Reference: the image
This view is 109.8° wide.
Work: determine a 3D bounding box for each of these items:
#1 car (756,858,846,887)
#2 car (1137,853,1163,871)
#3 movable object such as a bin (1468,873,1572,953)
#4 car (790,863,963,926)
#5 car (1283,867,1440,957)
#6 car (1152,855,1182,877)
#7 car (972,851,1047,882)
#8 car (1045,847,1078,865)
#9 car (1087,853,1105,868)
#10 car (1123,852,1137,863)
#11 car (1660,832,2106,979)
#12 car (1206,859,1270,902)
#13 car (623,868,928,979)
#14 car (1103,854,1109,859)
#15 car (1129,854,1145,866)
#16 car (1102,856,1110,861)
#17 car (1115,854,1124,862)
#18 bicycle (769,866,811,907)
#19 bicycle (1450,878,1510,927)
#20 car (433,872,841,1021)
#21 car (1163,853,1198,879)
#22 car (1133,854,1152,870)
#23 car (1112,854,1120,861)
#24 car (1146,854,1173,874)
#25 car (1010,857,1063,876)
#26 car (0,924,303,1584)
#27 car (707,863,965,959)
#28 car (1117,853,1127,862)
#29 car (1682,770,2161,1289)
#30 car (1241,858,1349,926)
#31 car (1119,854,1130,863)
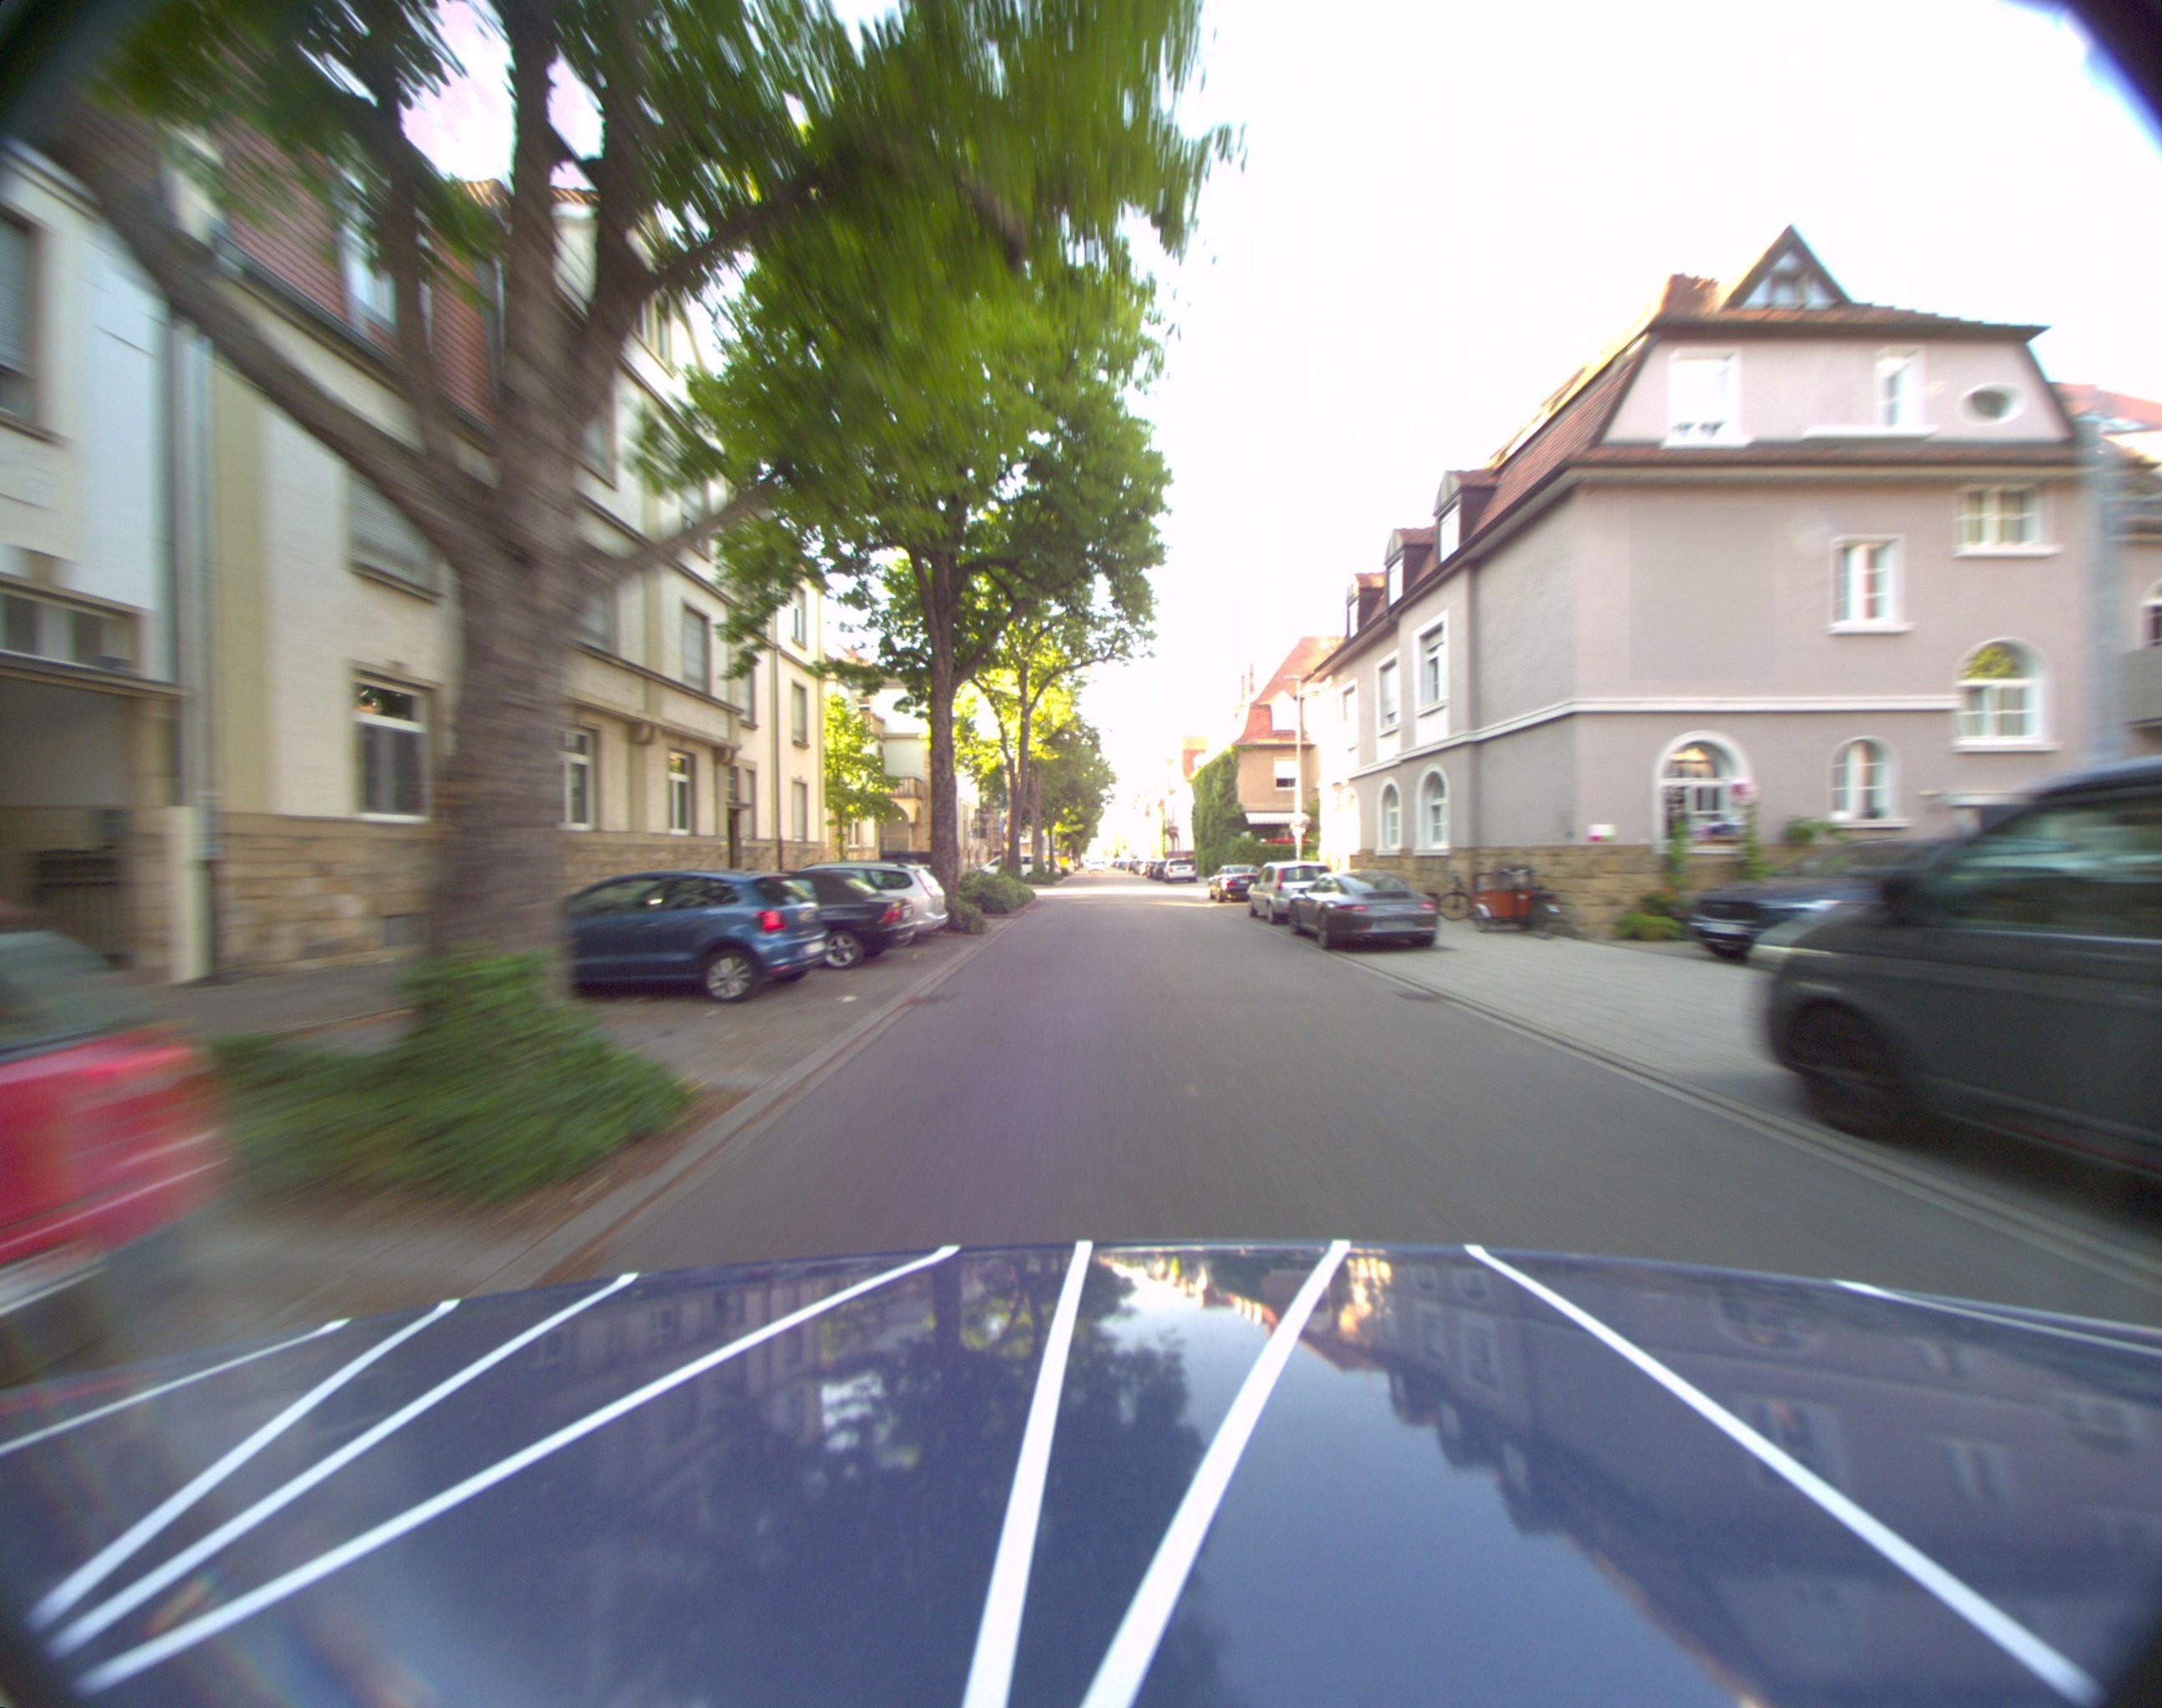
[{"bbox_3d":[-14.848,0.987,40.432,4.167,1.467,1.656,-1,-1,0],"label":"car"},{"bbox_3d":[6.194,0.696,68.619,1.797,1.453,4.777,-2,0,-2],"label":"car"},{"bbox_3d":[7.945,1.024,13.878,0.723,1.276,2.096,-1,0,1],"label":"movable object such as a bin"},{"bbox_3d":[-4.889,0.961,18.581,3.804,1.429,1.748,0,0,-3],"label":"car"},{"bbox_3d":[4.916,0.942,13.922,1.534,1.311,4.228,-2,0,4],"label":"car"},{"bbox_3d":[5.873,0.782,52.240,1.690,1.371,3.721,-2,0,1],"label":"car"},{"bbox_3d":[-4.323,0.764,46.154,4.325,1.796,2.000,1,0,1],"label":"car"},{"bbox_3d":[-3.036,0.283,119.633,5.108,2.885,2.076,0,0,-2],"label":"car"},{"bbox_3d":[1.832,0.778,91.616,2.098,1.700,4.607,-1,0,2],"label":"car"},{"bbox_3d":[6.973,0.542,108.447,1.714,1.461,4.633,-2,0,-1],"label":"car"},{"bbox_3d":[10.154,0.603,9.856,3.874,1.612,1.897,-1,0,-3],"label":"car"},{"bbox_3d":[5.612,0.913,27.594,1.657,1.316,4.046,-2,0,3],"label":"car"},{"bbox_3d":[-4.412,0.984,11.421,3.802,1.429,1.817,-1,0,1],"label":"car"},{"bbox_3d":[8.494,0.733,254.050,1.913,1.679,4.199,-3,0,1],"label":"car"},{"bbox_3d":[6.841,0.717,93.057,1.657,1.438,4.005,-2,0,1],"label":"car"},{"bbox_3d":[6.408,1.182,195.701,1.776,1.440,4.000,0,0,1],"label":"car"},{"bbox_3d":[7.661,0.718,151.645,1.654,1.474,3.429,-3,0,2],"label":"car"},{"bbox_3d":[-9.147,0.988,23.985,0.586,1.205,1.957,-1,0,-1],"label":"bicycle"},{"bbox_3d":[8.325,0.985,15.915,0.394,0.931,1.722,-1,0,1],"label":"bicycle"},{"bbox_3d":[-4.956,1.005,8.815,3.802,1.474,1.561,-1,1,2],"label":"car"},{"bbox_3d":[5.873,0.690,45.287,1.708,1.452,3.918,-2,0,2],"label":"car"},{"bbox_3d":[6.408,0.814,79.259,1.657,1.477,3.764,-2,0,1],"label":"car"},{"bbox_3d":[8.222,0.857,179.784,1.723,1.386,3.908,-3,0,2],"label":"car"},{"bbox_3d":[5.962,0.758,58.123,1.653,1.412,4.099,-2,0,1],"label":"car"},{"bbox_3d":[-3.614,0.999,62.155,4.153,1.526,1.687,1,0,3],"label":"car"},{"bbox_3d":[-4.644,0.951,1.629,4.199,1.467,1.852,1,1,3],"label":"car"},{"bbox_3d":[-4.381,0.995,14.011,4.157,1.567,1.712,-1,1,1],"label":"car"},{"bbox_3d":[7.345,0.700,136.720,1.585,1.511,3.706,-2,0,0],"label":"car"},{"bbox_3d":[4.992,0.621,2.603,1.987,1.936,4.851,-2,0,0],"label":"car"},{"bbox_3d":[5.227,0.864,19.065,1.657,1.437,3.960,-2,0,2],"label":"car"},{"bbox_3d":[7.260,0.755,127.033,1.657,1.445,4.631,-2,0,1],"label":"car"}]
